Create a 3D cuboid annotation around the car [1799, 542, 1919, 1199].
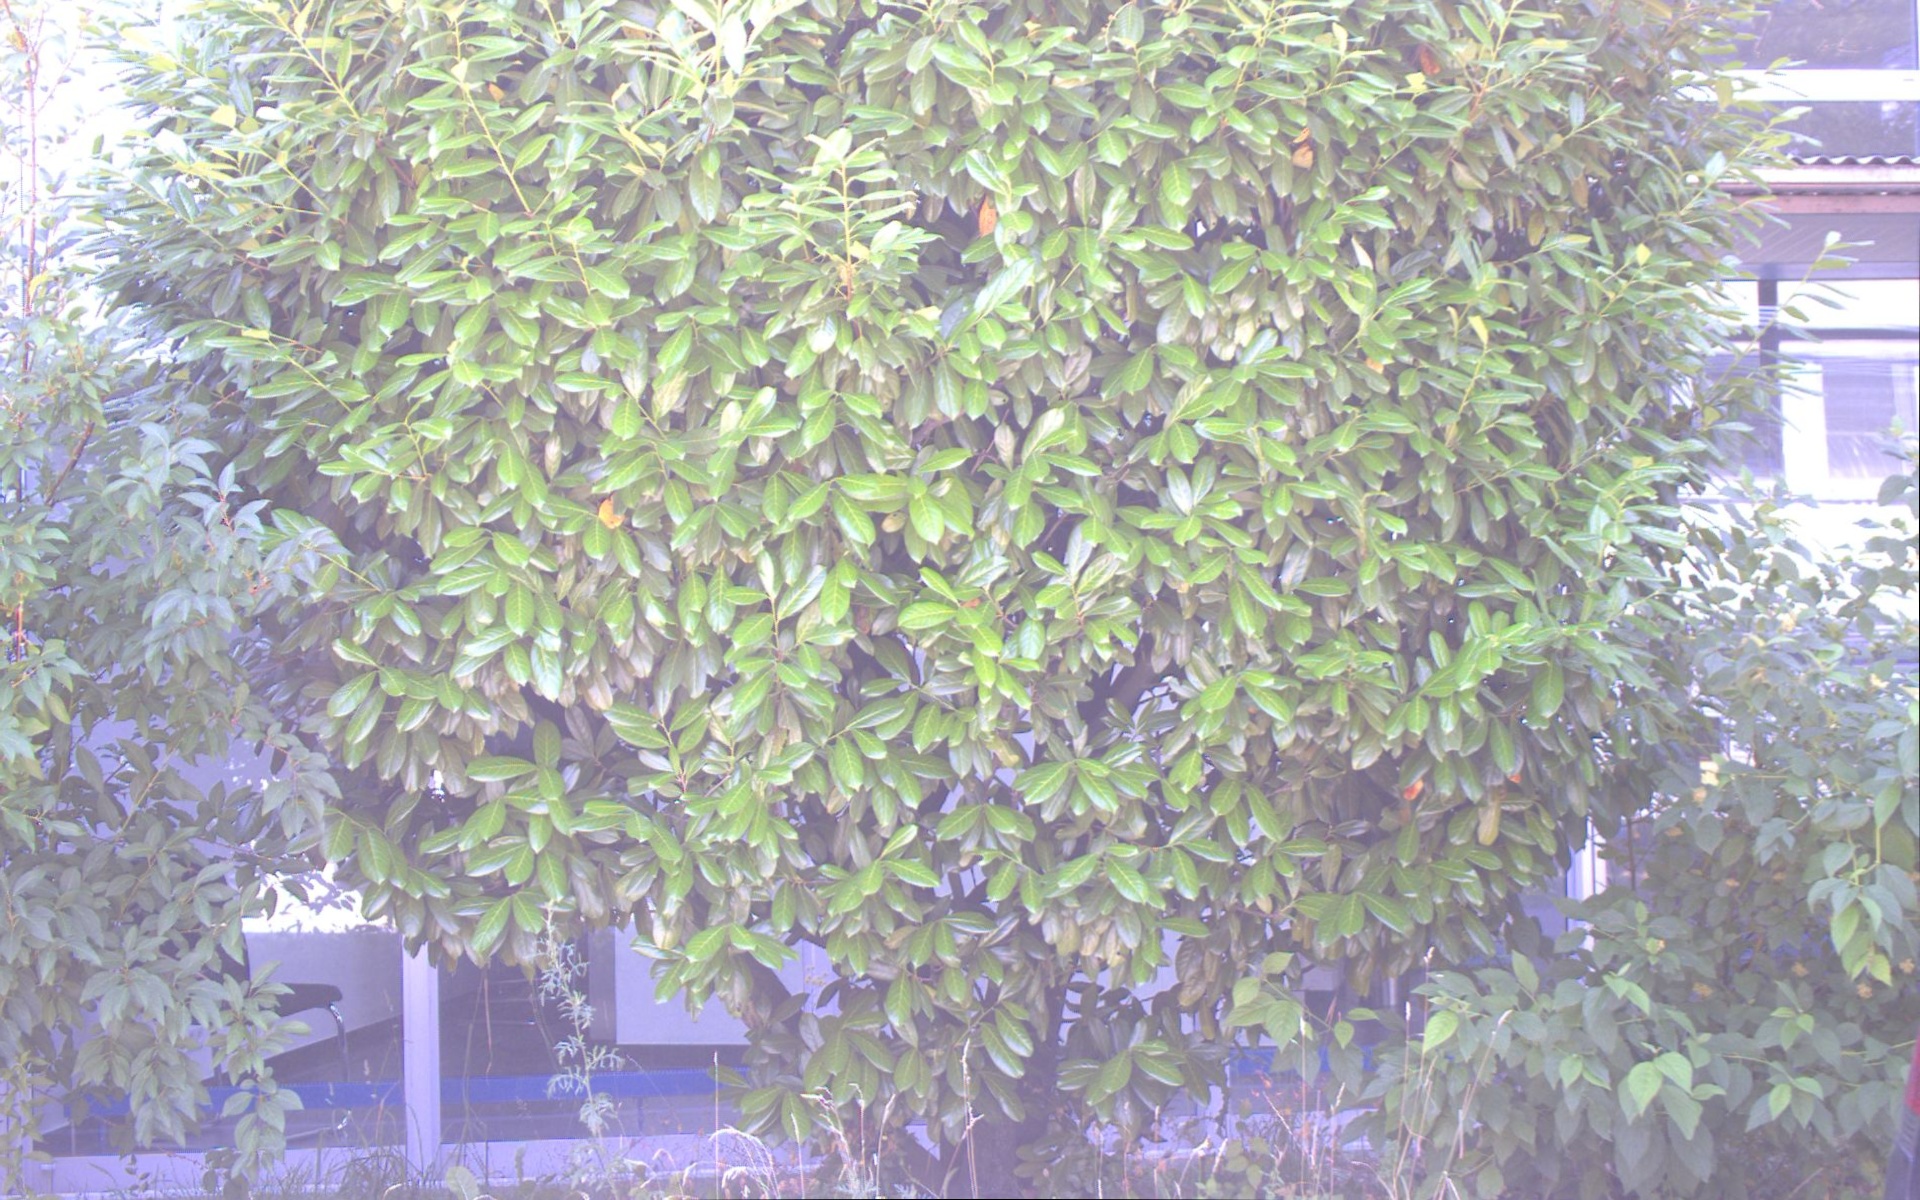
[{"bbox_3d":[2.160,0.713,2.174,1.758,1.544,4.566,0,0,-6],"label":"car"}]
